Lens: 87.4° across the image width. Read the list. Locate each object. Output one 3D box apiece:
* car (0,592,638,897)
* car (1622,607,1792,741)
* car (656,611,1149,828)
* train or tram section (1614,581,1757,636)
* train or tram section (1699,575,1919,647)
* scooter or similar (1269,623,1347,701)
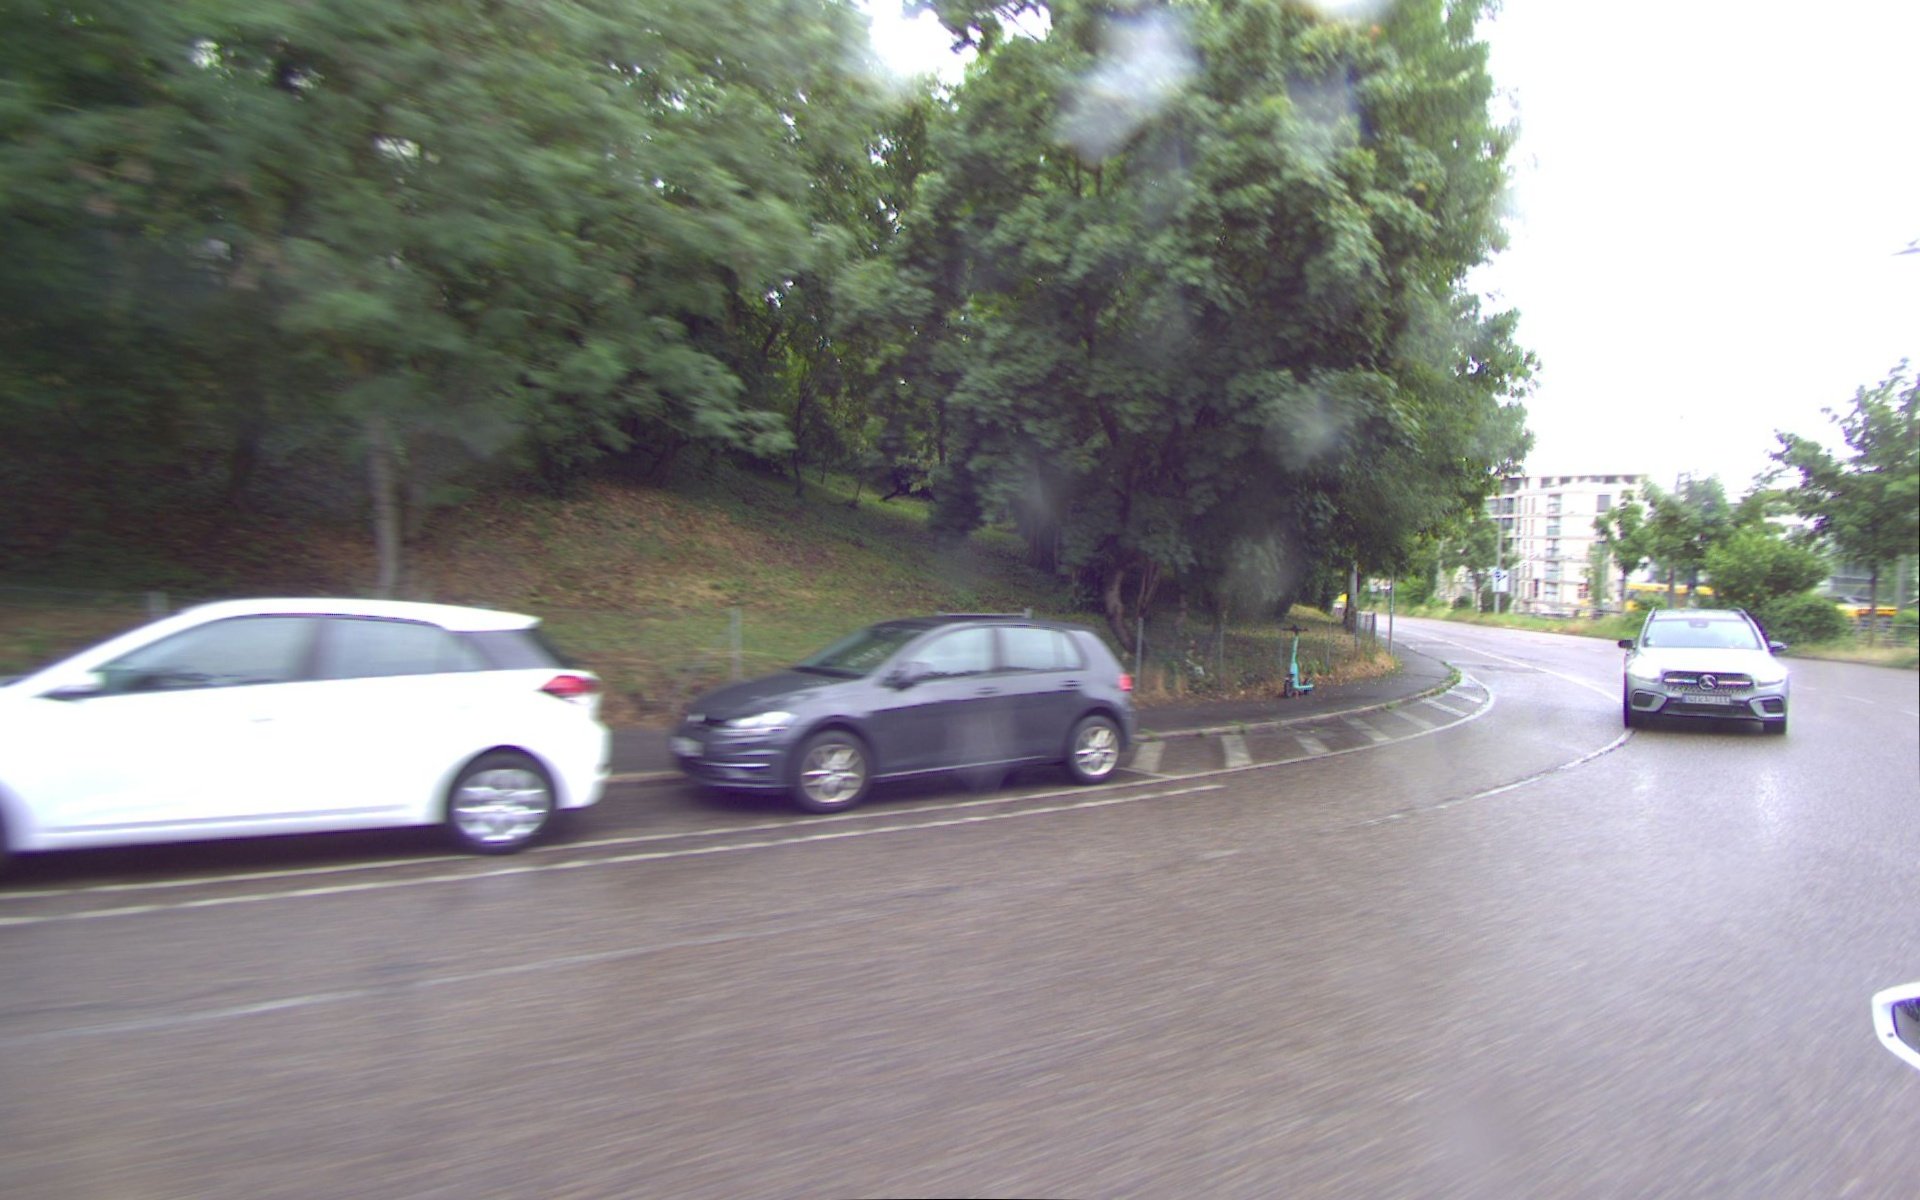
[{"bbox_3d":[-4.189,0.748,6.145,3.995,1.476,1.746,2,-1,-27],"label":"car"},{"bbox_3d":[11.160,0.962,15.032,1.795,1.692,4.292,-1,-1,37],"label":"car"},{"bbox_3d":[-0.403,0.884,8.784,3.975,1.462,1.762,2,0,-35],"label":"car"},{"bbox_3d":[60.124,0.616,84.166,3.274,4.000,18.819,1,0,15],"label":"train or tram section"},{"bbox_3d":[55.256,0.600,66.600,3.274,4.000,19.287,1,0,15],"label":"train or tram section"},{"bbox_3d":[6.236,1.094,17.985,1.426,1.285,0.603,1,3,-41],"label":"scooter or similar"}]
